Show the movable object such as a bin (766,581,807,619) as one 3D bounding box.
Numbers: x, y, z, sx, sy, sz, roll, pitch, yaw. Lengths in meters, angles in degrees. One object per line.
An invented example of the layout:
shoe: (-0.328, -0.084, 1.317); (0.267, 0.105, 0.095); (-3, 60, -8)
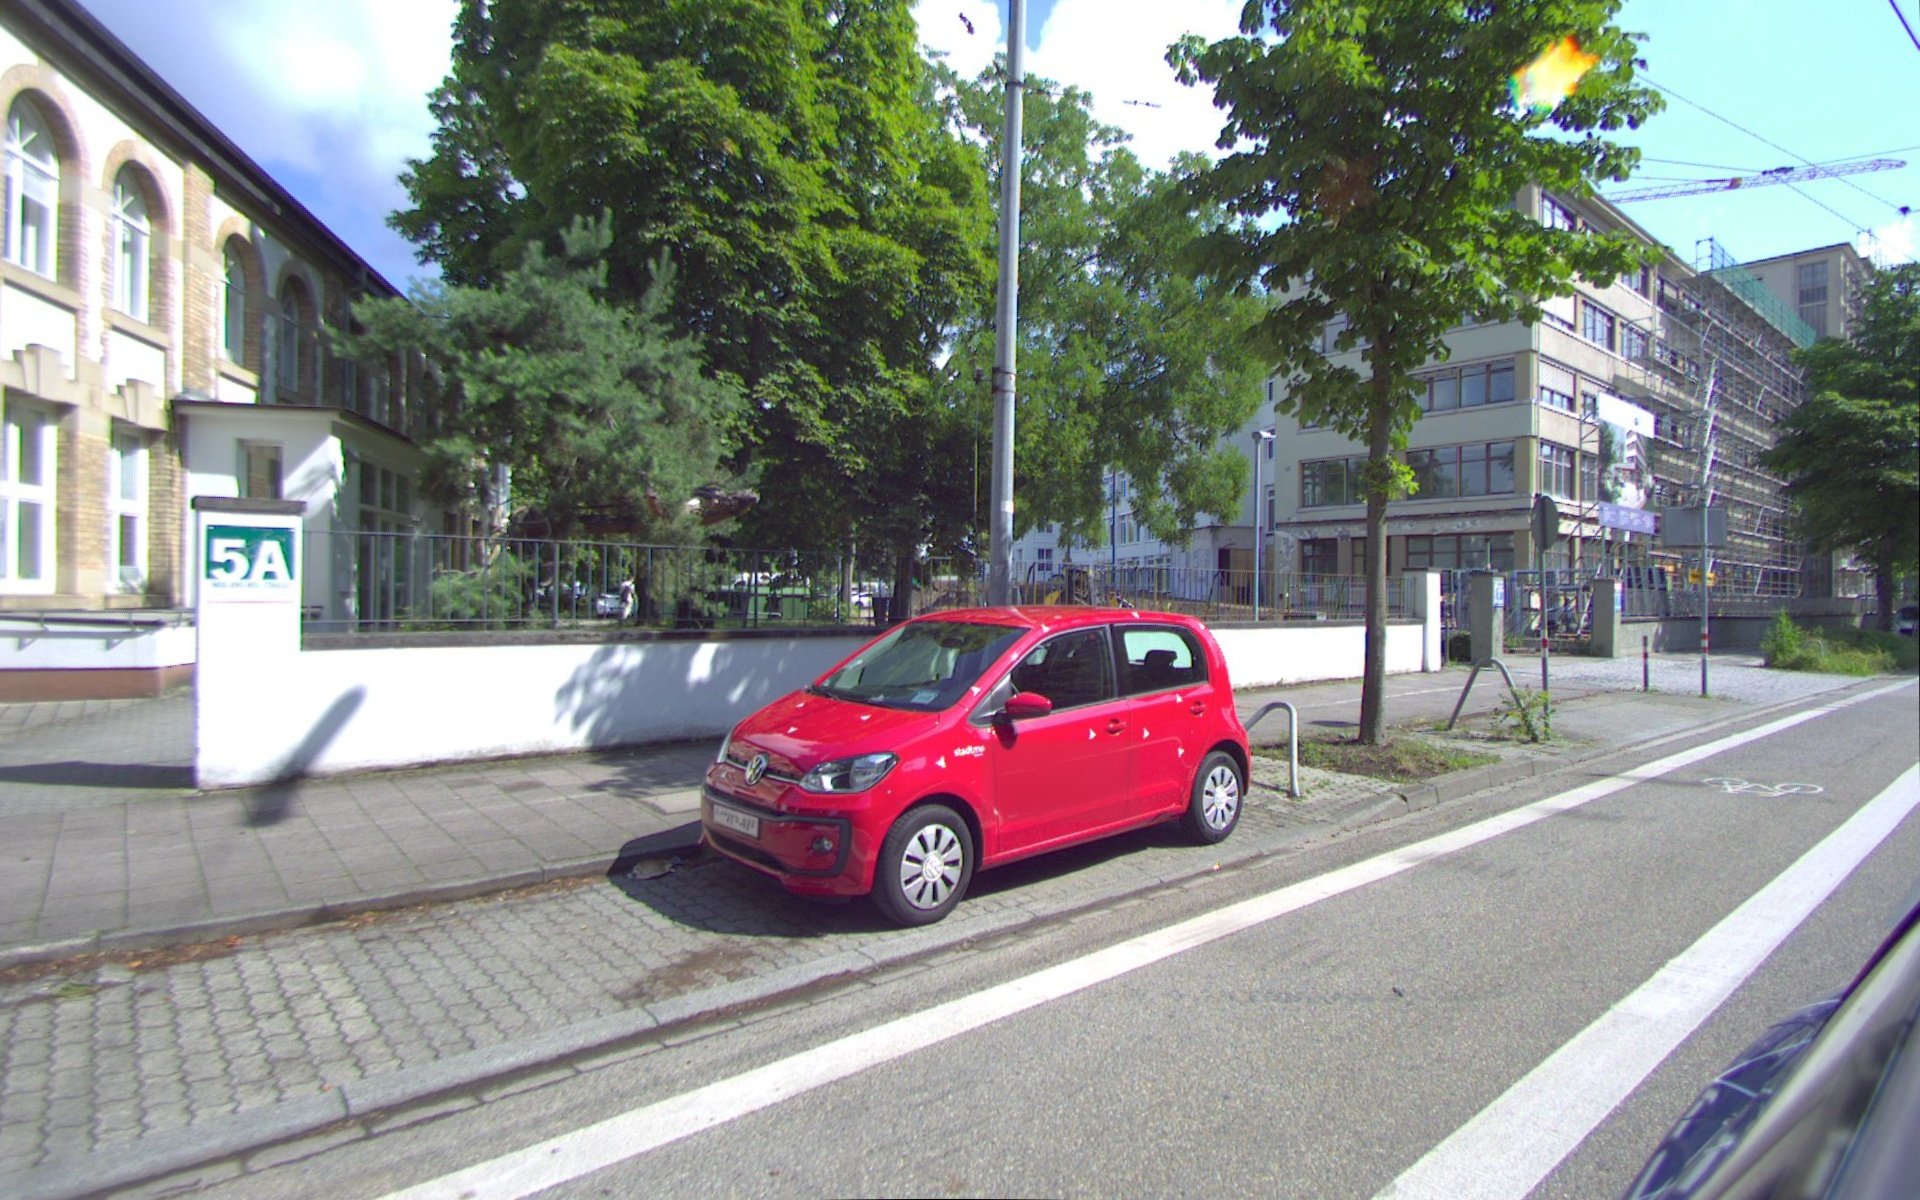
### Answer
movable object such as a bin: (-6.393, -0.005, 37.273); (1.338, 1.369, 1.096); (1, 0, -16)

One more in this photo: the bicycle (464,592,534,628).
bicycle: (-13.444, 0.295, 29.539); (1.782, 1.000, 0.428); (1, -2, -14)

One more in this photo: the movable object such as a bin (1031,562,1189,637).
movable object such as a bin: (5.548, -0.055, 37.518); (5.376, 2.474, 1.983); (3, 0, 25)

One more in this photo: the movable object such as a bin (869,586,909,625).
movable object such as a bin: (-2.634, 0.196, 37.677); (1.301, 1.374, 1.128); (1, 0, 6)

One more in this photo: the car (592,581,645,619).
car: (-14.806, -0.029, 44.055); (1.772, 1.516, 5.103); (0, 0, -14)

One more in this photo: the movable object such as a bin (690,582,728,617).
movable object such as a bin: (-9.062, -0.023, 36.515); (1.247, 1.235, 1.031); (1, 0, -16)

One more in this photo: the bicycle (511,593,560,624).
bicycle: (-14.205, 0.281, 33.880); (1.428, 1.000, 0.428); (1, -2, -14)

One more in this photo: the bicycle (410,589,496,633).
bicycle: (-12.185, 0.271, 24.355); (1.782, 1.000, 0.428); (1, -2, -14)

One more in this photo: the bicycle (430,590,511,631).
bicycle: (-12.538, 0.277, 25.953); (1.782, 1.000, 0.428); (1, -2, -14)

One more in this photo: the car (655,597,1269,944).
car: (0.179, 0.723, 6.088); (3.533, 1.446, 1.603); (-1, 1, -41)

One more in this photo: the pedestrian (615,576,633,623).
pedestrian: (-12.006, -0.024, 36.189); (0.558, 1.644, 0.860); (1, 0, -16)

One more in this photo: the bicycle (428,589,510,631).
bicycle: (-12.330, 0.261, 25.449); (1.782, 1.000, 0.428); (1, -2, -14)

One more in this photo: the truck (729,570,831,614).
truck: (-12.049, -0.476, 67.786); (6.423, 2.813, 2.003); (1, -1, -27)

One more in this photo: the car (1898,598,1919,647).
car: (34.055, 0.737, 35.107); (4.163, 1.627, 1.748); (0, -2, -41)

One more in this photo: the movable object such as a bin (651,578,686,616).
movable object such as a bin: (-10.442, -0.107, 36.224); (1.166, 1.309, 1.005); (1, 0, -16)

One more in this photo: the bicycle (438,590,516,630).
bicycle: (-12.706, 0.271, 26.682); (1.782, 1.000, 0.428); (1, -2, -14)

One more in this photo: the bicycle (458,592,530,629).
bicycle: (-13.149, 0.292, 28.595); (1.782, 1.000, 0.428); (1, -2, -14)

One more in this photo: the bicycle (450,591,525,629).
bicycle: (-12.788, 0.276, 27.423); (1.782, 1.000, 0.428); (1, -2, -14)

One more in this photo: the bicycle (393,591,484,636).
bicycle: (-11.963, 0.318, 23.241); (1.782, 1.000, 0.428); (1, -2, -14)

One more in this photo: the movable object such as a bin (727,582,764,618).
movable object such as a bin: (-7.812, 0.003, 36.873); (1.229, 1.281, 1.002); (1, 0, -16)

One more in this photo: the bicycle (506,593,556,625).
bicycle: (-14.075, 0.303, 33.190); (1.428, 1.000, 0.428); (1, -2, -12)

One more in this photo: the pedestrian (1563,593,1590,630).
pedestrian: (22.465, 0.428, 36.875); (0.454, 1.329, 0.636); (-3, 0, -28)
